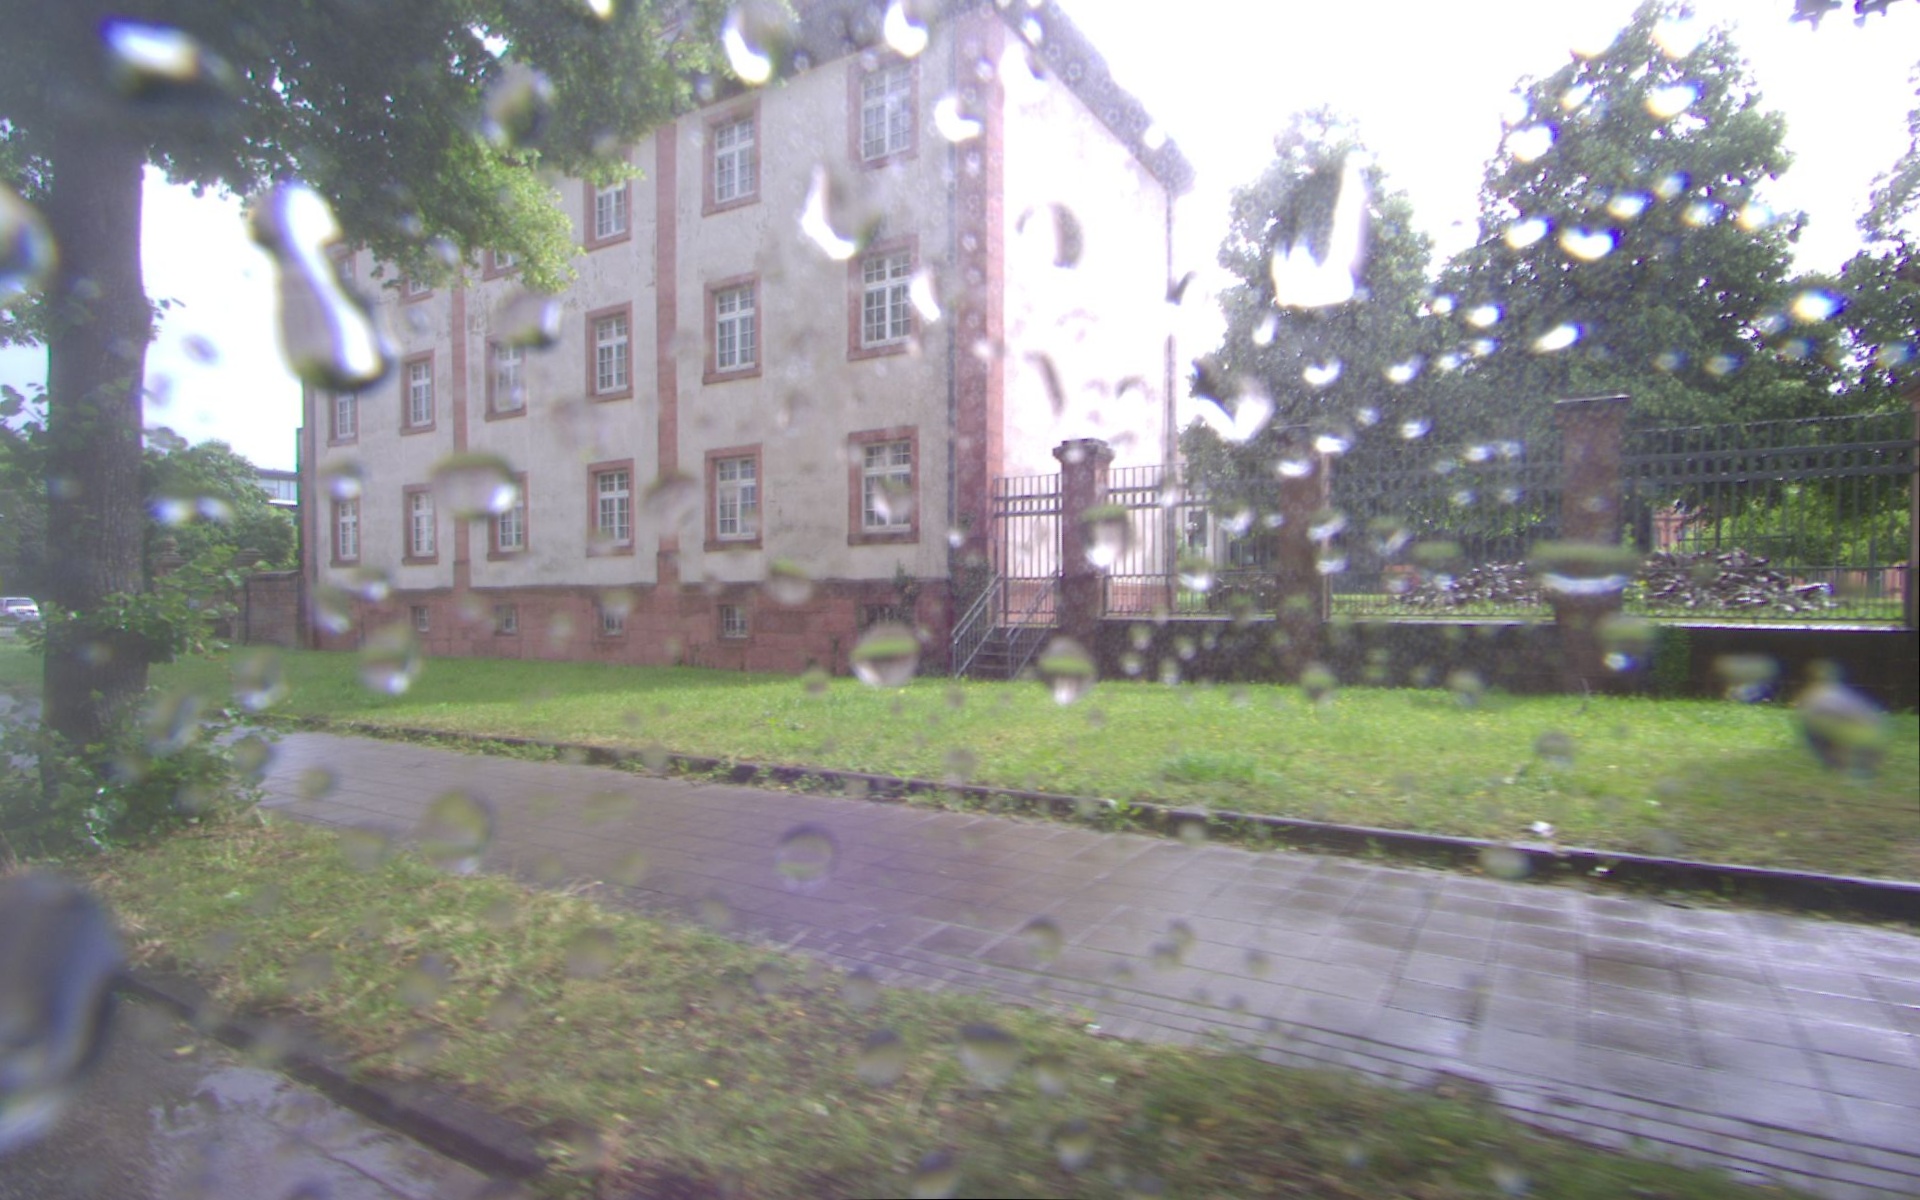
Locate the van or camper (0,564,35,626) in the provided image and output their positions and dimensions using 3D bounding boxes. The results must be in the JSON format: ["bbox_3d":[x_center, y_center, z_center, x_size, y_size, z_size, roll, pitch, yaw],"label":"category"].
[{"bbox_3d":[-42.261,-0.188,41.722,2.136,2.630,5.023,0,1,31],"label":"van or camper"}]

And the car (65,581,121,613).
[{"bbox_3d":[-59.251,-0.234,68.441,3.947,2.042,1.986,0,3,36],"label":"car"}]

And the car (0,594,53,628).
[{"bbox_3d":[-50.354,0.574,53.788,3.822,1.707,1.734,0,3,39],"label":"car"}]

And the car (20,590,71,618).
[{"bbox_3d":[-64.579,0.256,70.684,3.760,1.883,1.860,0,3,36],"label":"car"}]

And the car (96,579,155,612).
[{"bbox_3d":[-54.762,-0.278,65.696,3.947,2.042,1.986,0,3,36],"label":"car"}]
